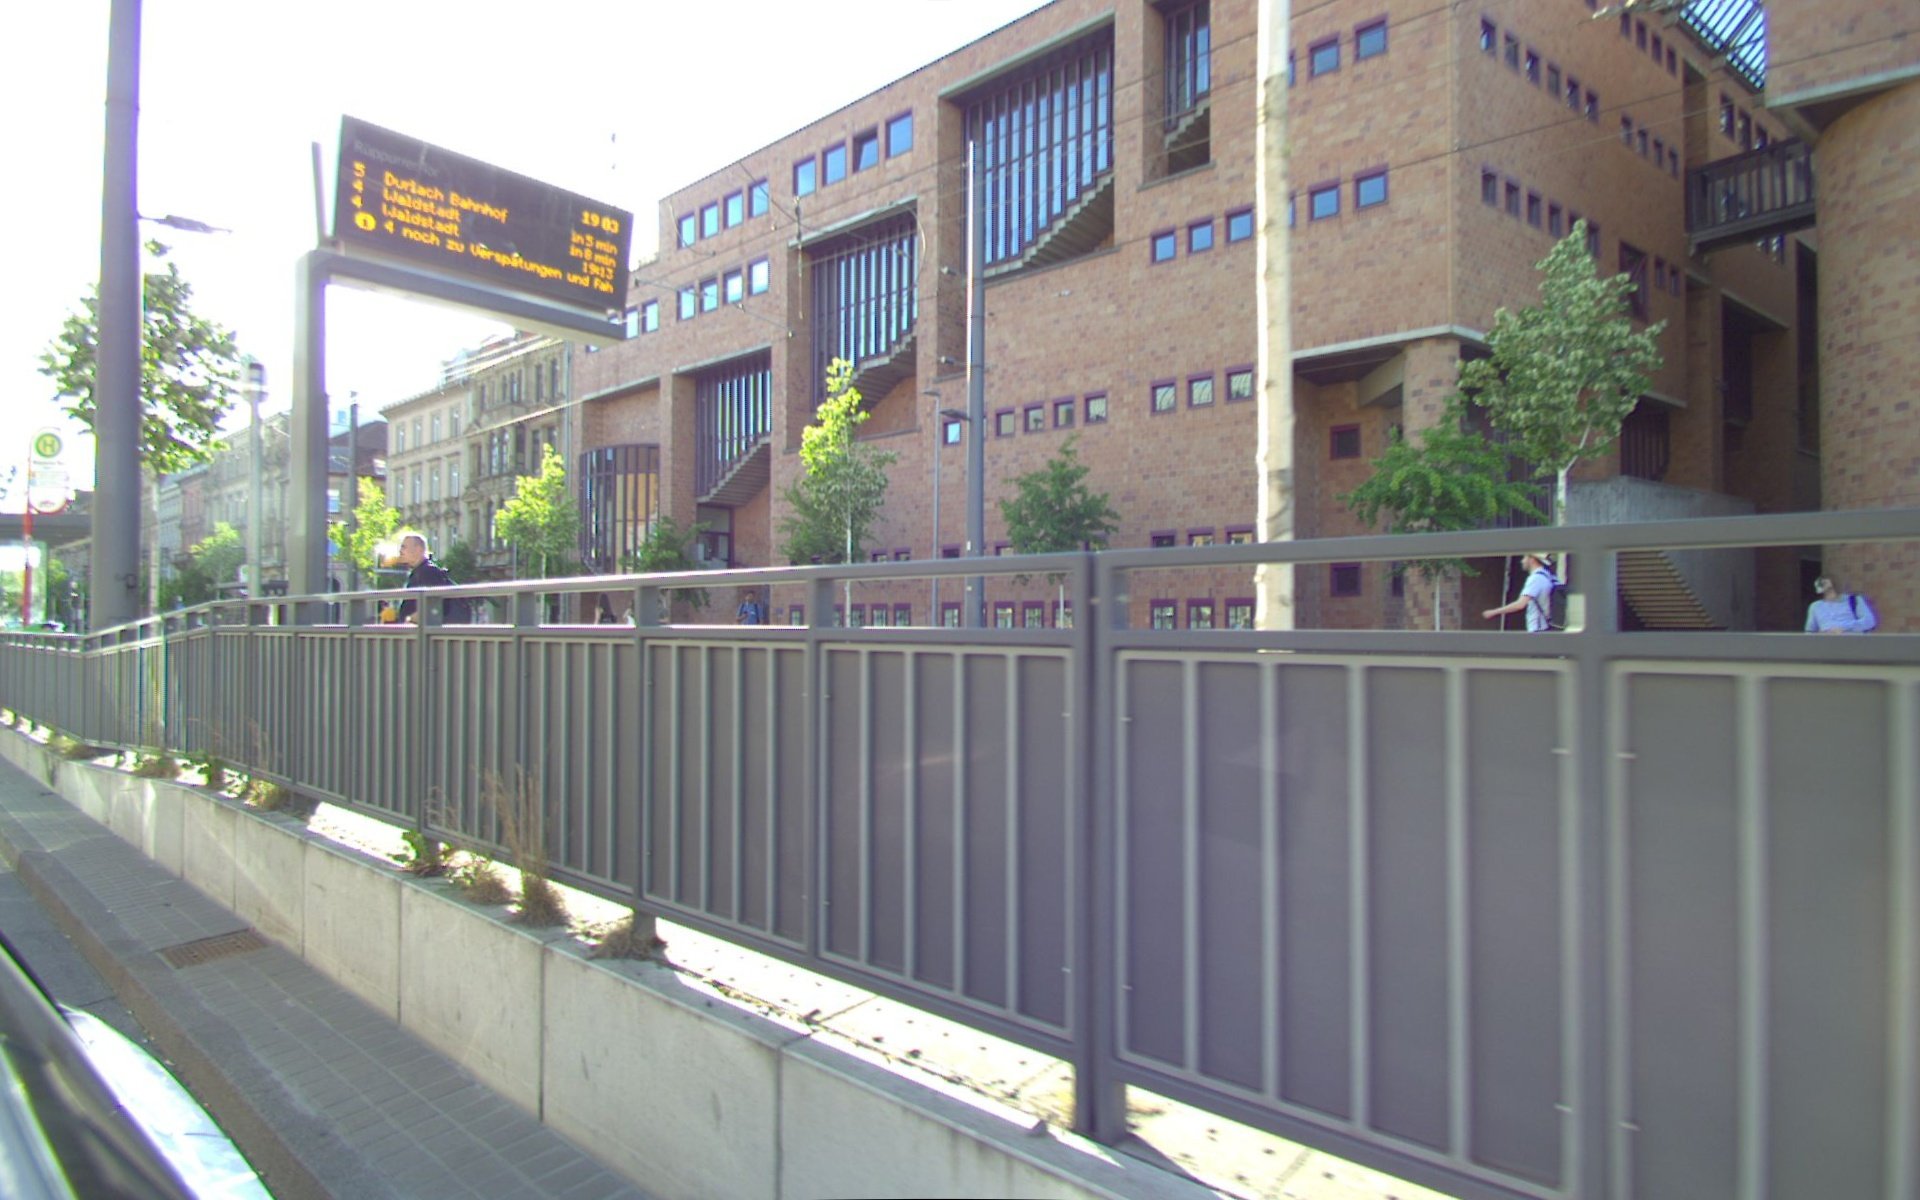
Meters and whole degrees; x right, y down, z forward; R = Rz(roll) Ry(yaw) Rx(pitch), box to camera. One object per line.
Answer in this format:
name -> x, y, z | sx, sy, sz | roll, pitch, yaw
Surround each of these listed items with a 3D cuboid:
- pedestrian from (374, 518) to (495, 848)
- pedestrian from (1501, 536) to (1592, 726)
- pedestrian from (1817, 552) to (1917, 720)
pedestrian -> -4.158, 0.619, 8.004 | 0.684, 2.461, 0.618 | -1, 0, 40
pedestrian -> 5.897, 0.300, 10.168 | 0.668, 1.821, 0.677 | -1, 0, 40
pedestrian -> 9.296, 0.357, 10.394 | 0.684, 1.647, 0.660 | -1, 0, 37
